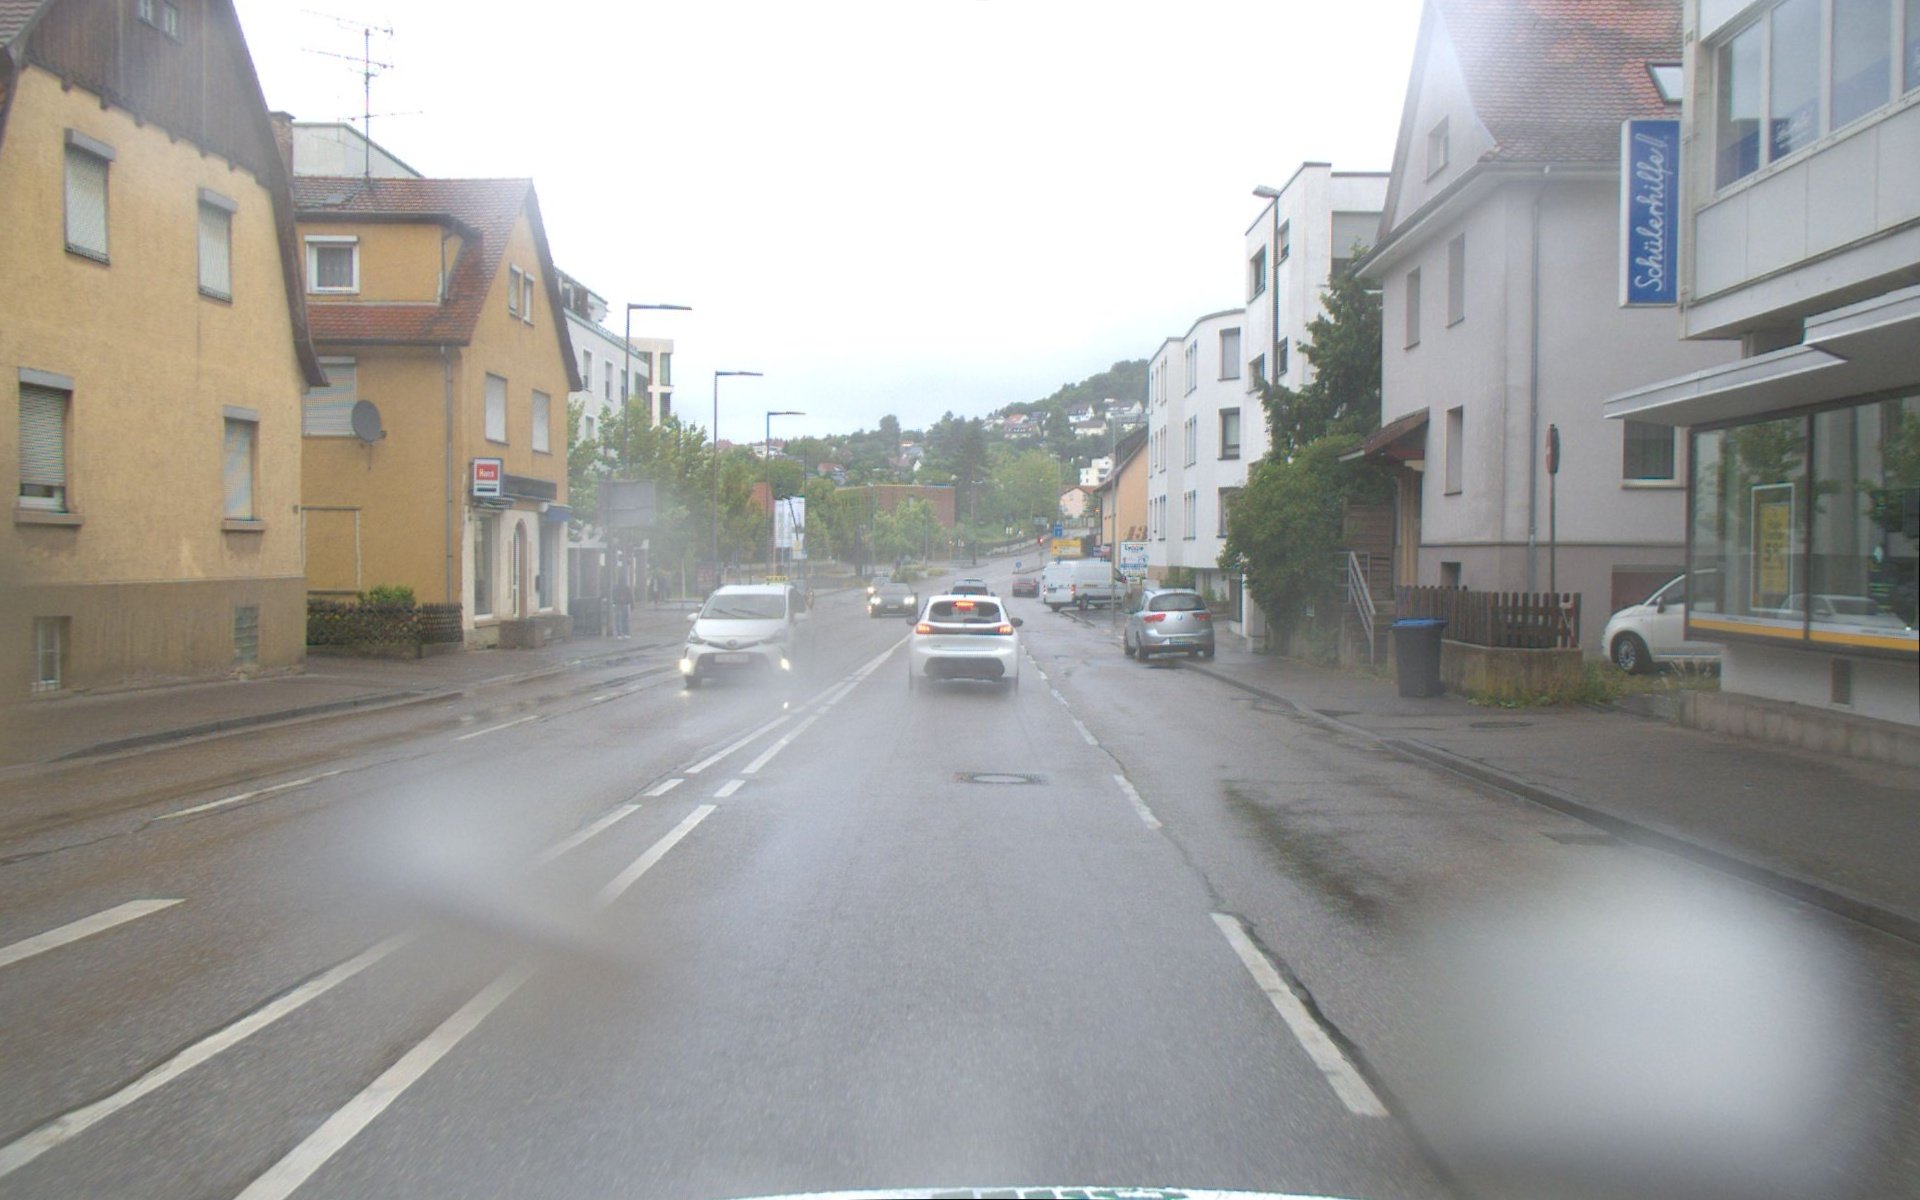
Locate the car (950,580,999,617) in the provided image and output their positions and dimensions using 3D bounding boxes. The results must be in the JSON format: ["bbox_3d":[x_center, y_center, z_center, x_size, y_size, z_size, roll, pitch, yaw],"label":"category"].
[{"bbox_3d":[0.535,-0.073,61.885,1.706,1.318,3.333,-1,1,-2],"label":"car"}]

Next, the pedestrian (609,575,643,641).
[{"bbox_3d":[-9.369,0.224,46.419,0.785,1.819,0.881,0,-1,-3],"label":"pedestrian"}]

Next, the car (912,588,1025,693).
[{"bbox_3d":[0.065,0.622,26.262,1.657,1.546,3.931,0,-1,-2],"label":"car"}]

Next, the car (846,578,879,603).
[{"bbox_3d":[-6.272,-0.617,107.110,1.842,1.550,4.184,-1,-1,1],"label":"car"}]

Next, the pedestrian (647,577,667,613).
[{"bbox_3d":[-15.108,-0.231,82.504,0.792,1.768,1.003,0,-1,0],"label":"pedestrian"}]

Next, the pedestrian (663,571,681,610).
[{"bbox_3d":[-16.235,-0.507,93.125,0.731,2.182,0.771,0,-1,14],"label":"pedestrian"}]

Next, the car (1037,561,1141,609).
[{"bbox_3d":[6.876,-0.770,87.419,2.254,2.424,6.594,-1,-1,38],"label":"car"}]

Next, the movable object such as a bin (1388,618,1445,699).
[{"bbox_3d":[6.420,0.817,23.264,0.564,1.066,0.830,-1,2,0],"label":"movable object such as a bin"}]

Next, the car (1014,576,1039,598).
[{"bbox_3d":[5.119,-1.032,127.400,1.698,1.411,3.353,1,4,0],"label":"car"}]

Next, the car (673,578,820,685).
[{"bbox_3d":[-3.477,0.499,27.711,1.840,1.637,4.718,0,-1,0],"label":"car"}]

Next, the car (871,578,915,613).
[{"bbox_3d":[-2.894,-0.185,71.953,1.732,1.438,4.525,-1,-1,0],"label":"car"}]

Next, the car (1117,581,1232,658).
[{"bbox_3d":[4.883,0.479,38.235,1.971,1.650,4.359,1,-2,-2],"label":"car"}]

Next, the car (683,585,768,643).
[{"bbox_3d":[-6.389,0.394,45.444,1.615,1.442,4.139,-3,-1,1],"label":"car"}]

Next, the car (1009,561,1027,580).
[{"bbox_3d":[6.545,-3.370,187.513,1.952,2.049,4.000,-1,-1,1],"label":"car"}]

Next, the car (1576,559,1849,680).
[{"bbox_3d":[10.535,0.268,23.349,1.338,1.528,3.304,-3,1,-32],"label":"car"}]
